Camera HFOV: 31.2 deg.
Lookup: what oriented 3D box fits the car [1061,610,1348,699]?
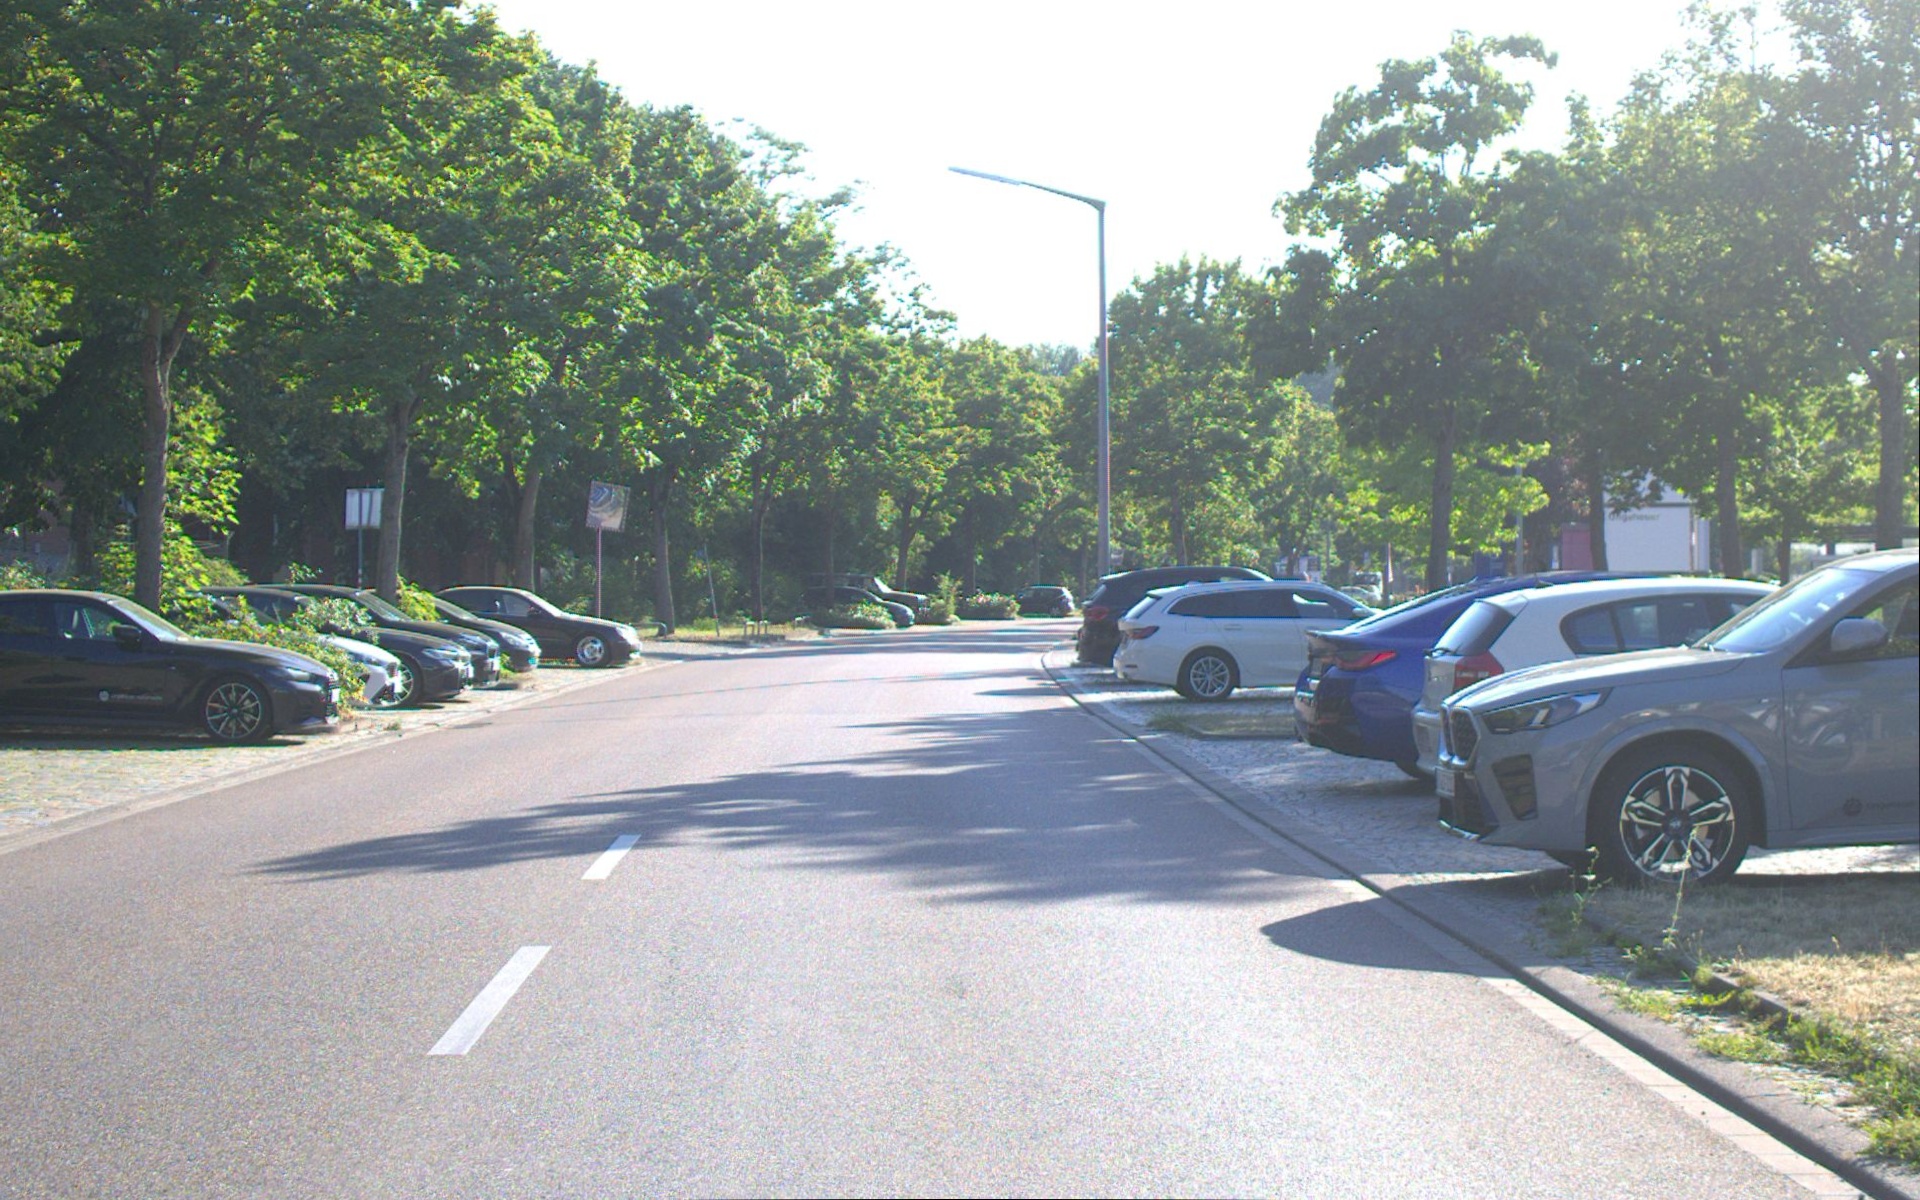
[{"bbox_3d":[3.921,0.863,55.744,4.481,1.399,2.034,0,0,0],"label":"car"}]

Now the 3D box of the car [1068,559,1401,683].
[{"bbox_3d":[3.962,0.301,49.811,4.695,1.745,2.191,0,0,4],"label":"car"}]

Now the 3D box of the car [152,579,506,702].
[{"bbox_3d":[-8.659,0.552,47.452,4.479,1.525,2.000,2,0,0],"label":"car"}]

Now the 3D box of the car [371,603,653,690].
[{"bbox_3d":[-8.417,0.864,64.871,5.034,1.457,2.000,2,0,0],"label":"car"}]

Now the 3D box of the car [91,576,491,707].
[{"bbox_3d":[-8.643,0.535,44.734,4.849,1.525,2.000,2,0,-3],"label":"car"}]

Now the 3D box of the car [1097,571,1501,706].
[{"bbox_3d":[4.100,0.462,42.167,4.694,1.474,2.000,-2,0,-1],"label":"car"}]

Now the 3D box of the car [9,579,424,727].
[{"bbox_3d":[-8.496,0.595,39.530,4.286,1.525,2.000,2,0,1],"label":"car"}]

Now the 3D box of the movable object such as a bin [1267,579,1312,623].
[{"bbox_3d":[23.981,0.076,249.903,2.839,3.058,4.925,2,0,10],"label":"movable object such as a bin"}]

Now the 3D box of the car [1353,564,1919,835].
[{"bbox_3d":[4.714,0.555,20.845,4.376,1.474,2.000,-2,0,-1],"label":"car"}]

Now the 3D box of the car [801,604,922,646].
[{"bbox_3d":[-3.587,0.928,125.912,4.213,1.525,1.705,0,0,7],"label":"car"}]

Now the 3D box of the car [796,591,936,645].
[{"bbox_3d":[-3.544,0.689,129.770,5.006,2.013,2.174,0,0,7],"label":"car"}]

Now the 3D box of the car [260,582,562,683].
[{"bbox_3d":[-8.762,0.508,55.132,4.479,1.457,2.000,2,0,0],"label":"car"}]

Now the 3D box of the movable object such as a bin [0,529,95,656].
[{"bbox_3d":[-20.742,-0.155,74.710,2.158,2.655,4.803,0,0,-36],"label":"movable object such as a bin"}]

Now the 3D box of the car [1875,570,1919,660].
[{"bbox_3d":[20.245,0.299,71.947,2.033,1.822,4.972,0,0,16],"label":"car"}]

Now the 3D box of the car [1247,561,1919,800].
[{"bbox_3d":[4.406,0.525,23.680,4.624,1.451,2.000,-2,0,-1],"label":"car"}]

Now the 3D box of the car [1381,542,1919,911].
[{"bbox_3d":[4.481,0.524,16.348,4.590,1.579,2.000,-2,0,-3],"label":"car"}]

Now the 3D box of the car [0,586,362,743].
[{"bbox_3d":[-8.410,0.605,34.060,4.648,1.417,1.917,2,0,-2],"label":"car"}]
